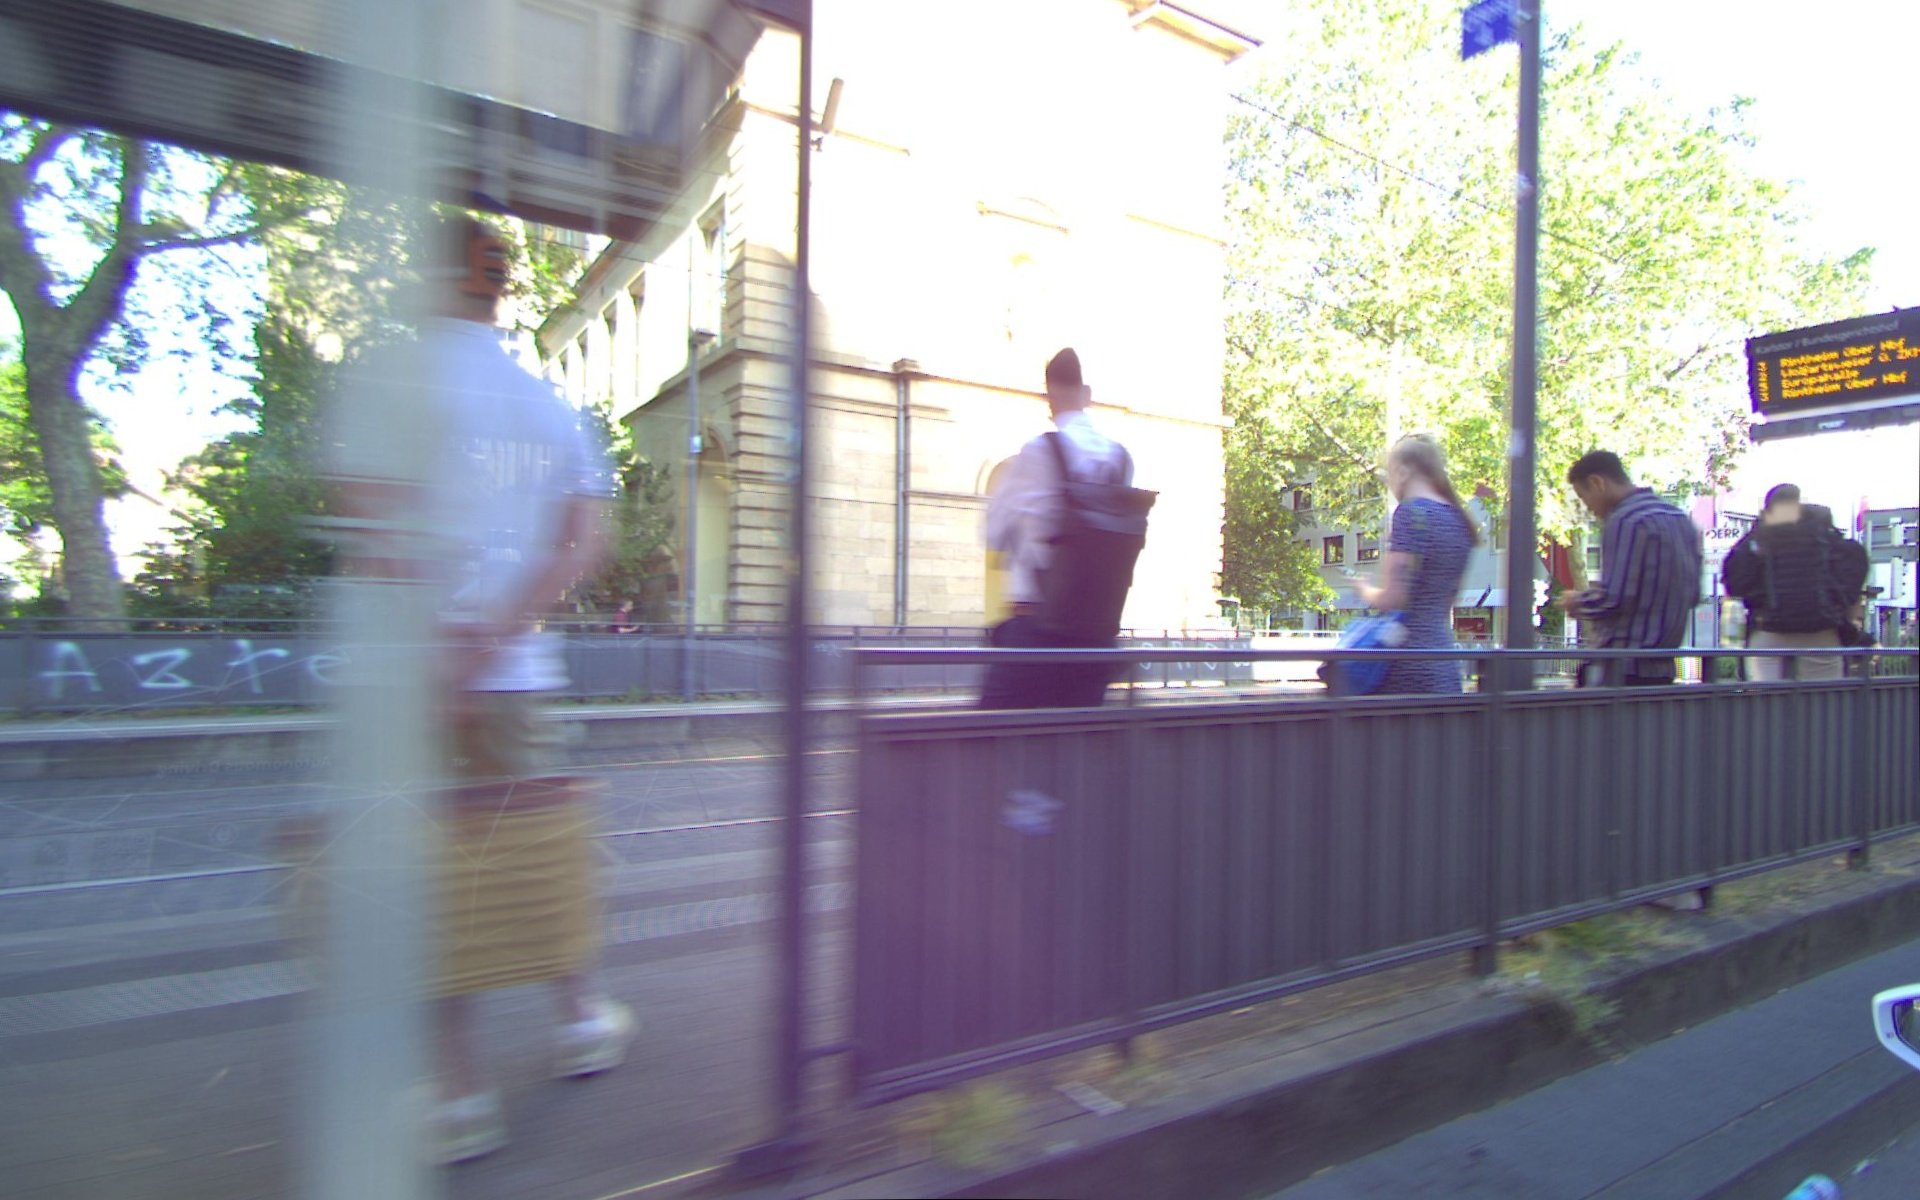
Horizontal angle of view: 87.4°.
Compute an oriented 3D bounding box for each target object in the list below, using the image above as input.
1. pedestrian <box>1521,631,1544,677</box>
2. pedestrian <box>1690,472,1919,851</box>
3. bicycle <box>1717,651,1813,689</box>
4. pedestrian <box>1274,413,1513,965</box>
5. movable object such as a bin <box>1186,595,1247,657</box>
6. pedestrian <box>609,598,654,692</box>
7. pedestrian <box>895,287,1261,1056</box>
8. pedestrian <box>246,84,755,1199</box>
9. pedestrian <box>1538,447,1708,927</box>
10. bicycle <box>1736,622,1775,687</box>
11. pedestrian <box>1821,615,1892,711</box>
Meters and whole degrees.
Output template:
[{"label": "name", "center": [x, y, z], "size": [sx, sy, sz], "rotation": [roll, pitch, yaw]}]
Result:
[{"label": "pedestrian", "center": [21.002, 1.982, 36.856], "size": [0.678, 1.658, 0.675], "rotation": [0, -1, 27]}, {"label": "pedestrian", "center": [4.527, 0.297, 5.456], "size": [0.759, 1.855, 0.803], "rotation": [2, 0, 29]}, {"label": "bicycle", "center": [21.817, 1.898, 27.251], "size": [2.128, 0.979, 0.647], "rotation": [1, -1, -2]}, {"label": "pedestrian", "center": [1.466, 0.276, 3.409], "size": [0.583, 1.670, 0.491], "rotation": [1, -1, -32]}, {"label": "movable object such as a bin", "center": [8.832, 0.902, 34.763], "size": [1.153, 2.040, 2.648], "rotation": [1, -1, -7]}, {"label": "pedestrian", "center": [-6.213, 0.839, 18.974], "size": [0.607, 1.735, 0.675], "rotation": [2, -1, -32]}, {"label": "pedestrian", "center": [0.314, 0.172, 2.812], "size": [0.739, 1.775, 0.686], "rotation": [1, -1, -32]}, {"label": "pedestrian", "center": [-0.883, 0.153, 1.947], "size": [0.739, 1.788, 0.686], "rotation": [1, -1, -32]}, {"label": "pedestrian", "center": [2.527, 0.313, 3.831], "size": [0.523, 1.691, 0.349], "rotation": [1, -1, -32]}, {"label": "bicycle", "center": [21.723, 1.473, 27.435], "size": [0.572, 1.738, 0.648], "rotation": [1, -1, 9]}, {"label": "pedestrian", "center": [16.258, 1.119, 18.217], "size": [1.021, 1.690, 0.693], "rotation": [1, -1, -30]}]
